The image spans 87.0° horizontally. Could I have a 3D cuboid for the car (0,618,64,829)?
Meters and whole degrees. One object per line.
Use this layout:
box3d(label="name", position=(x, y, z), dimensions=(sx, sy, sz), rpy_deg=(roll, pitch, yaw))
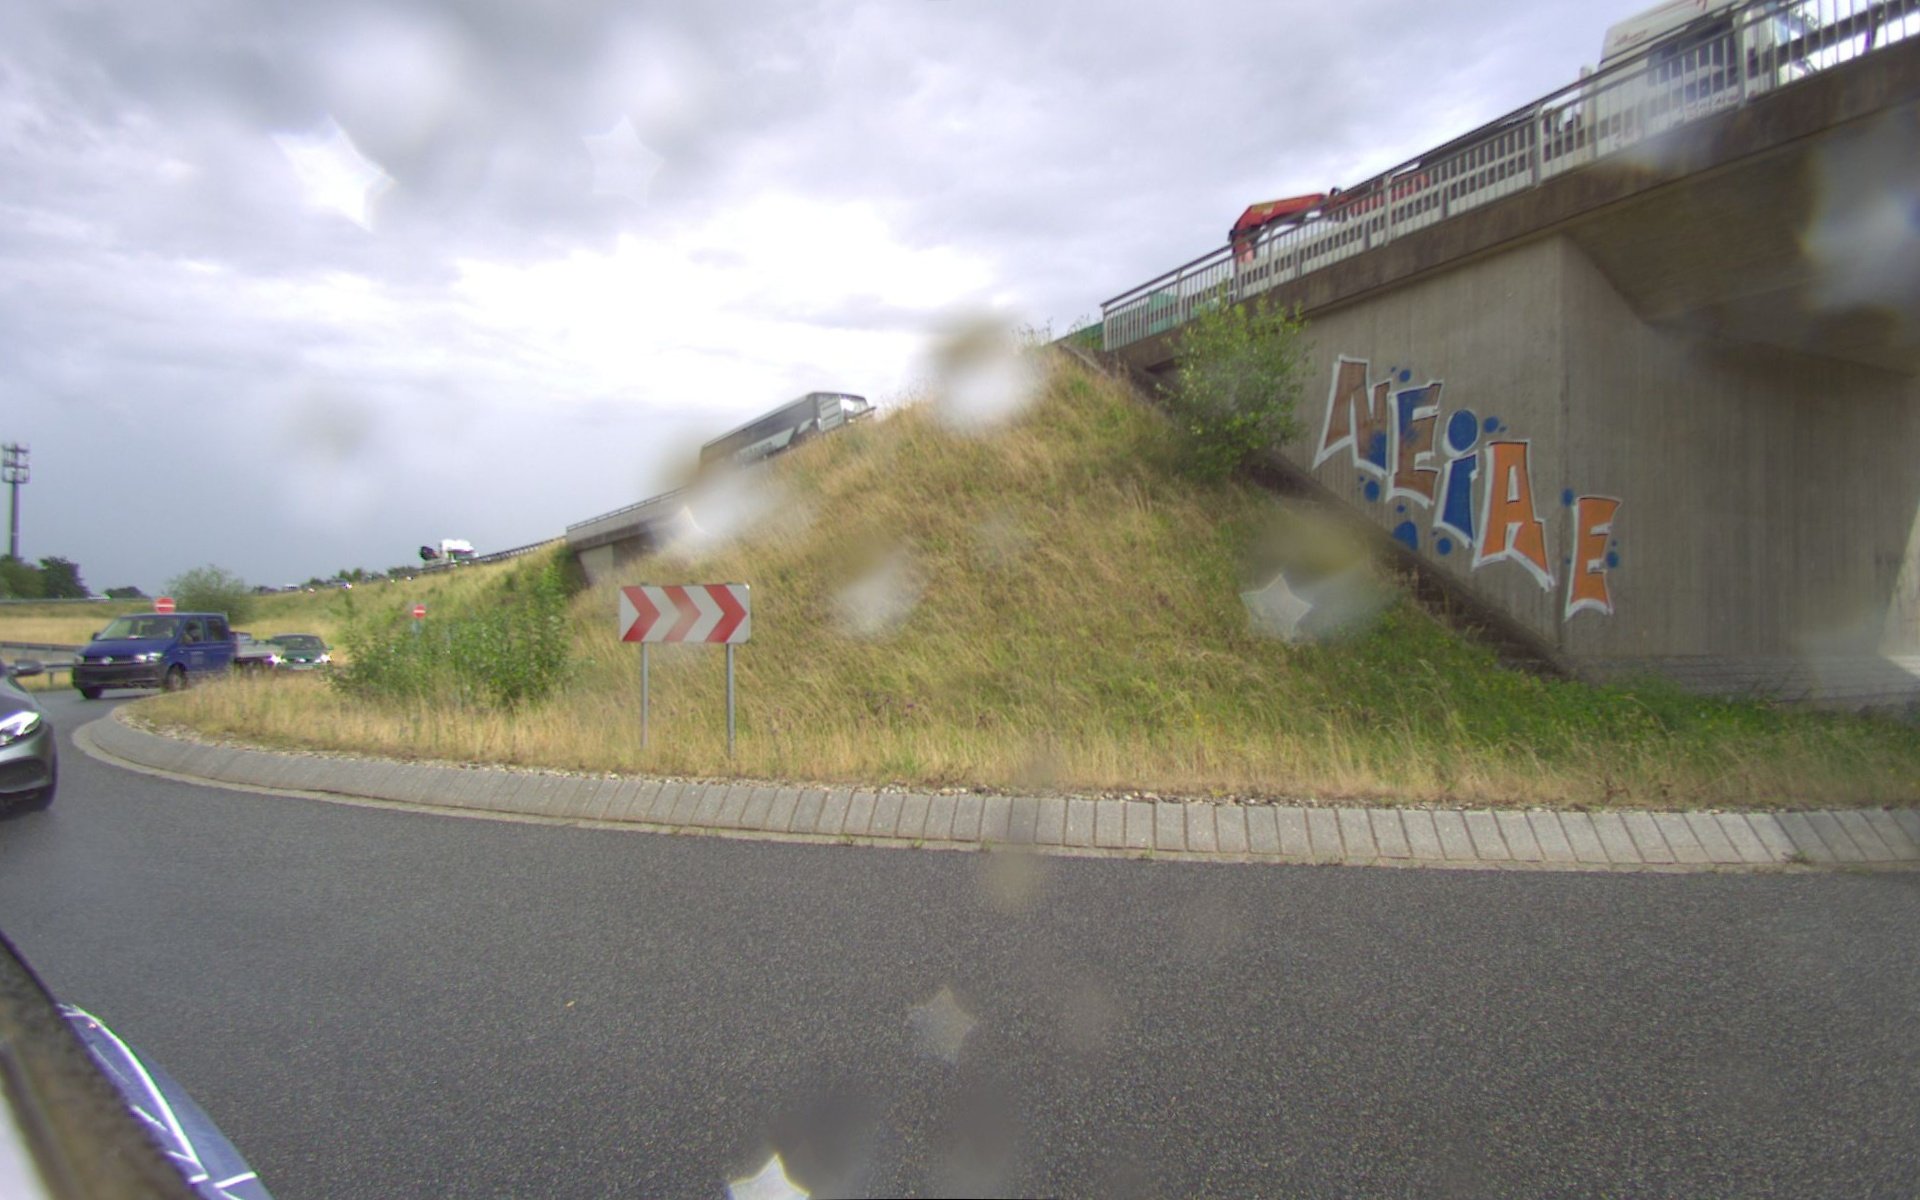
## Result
box3d(label="car", position=(-8.530, 0.914, 7.773), dimensions=(4.586, 1.402, 1.748), rpy_deg=(-4, -4, 39))

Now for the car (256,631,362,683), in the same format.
box3d(label="car", position=(-19.864, 1.718, 31.063), dimensions=(1.744, 1.496, 3.845), rpy_deg=(1, -3, -17))

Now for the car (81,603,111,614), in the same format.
box3d(label="car", position=(-136.674, 1.315, 160.044), dimensions=(1.740, 1.655, 3.900), rpy_deg=(-1, -1, -7))

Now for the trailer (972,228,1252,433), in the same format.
box3d(label="trailer", position=(3.451, -6.451, 25.774), dimensions=(2.150, 2.893, 8.355), rpy_deg=(-1, -1, -31))

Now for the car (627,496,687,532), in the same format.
box3d(label="car", position=(-17.835, -5.007, 59.478), dimensions=(1.688, 1.536, 4.503), rpy_deg=(-12, 6, -37))

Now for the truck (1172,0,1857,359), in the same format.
box3d(label="truck", position=(8.334, -6.993, 17.742), dimensions=(2.169, 2.895, 10.857), rpy_deg=(-1, -1, -31))

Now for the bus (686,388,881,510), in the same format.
box3d(label="bus", position=(-8.184, -6.166, 44.039), dimensions=(2.569, 3.103, 14.501), rpy_deg=(-1, -1, -34))

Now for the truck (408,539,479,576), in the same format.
box3d(label="truck", position=(-51.981, -4.180, 101.804), dimensions=(9.274, 3.218, 3.118), rpy_deg=(-2, -1, 41))

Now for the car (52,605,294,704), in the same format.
box3d(label="car", position=(-18.705, 1.179, 24.493), dimensions=(1.864, 1.929, 5.690), rpy_deg=(-2, 1, -6))
